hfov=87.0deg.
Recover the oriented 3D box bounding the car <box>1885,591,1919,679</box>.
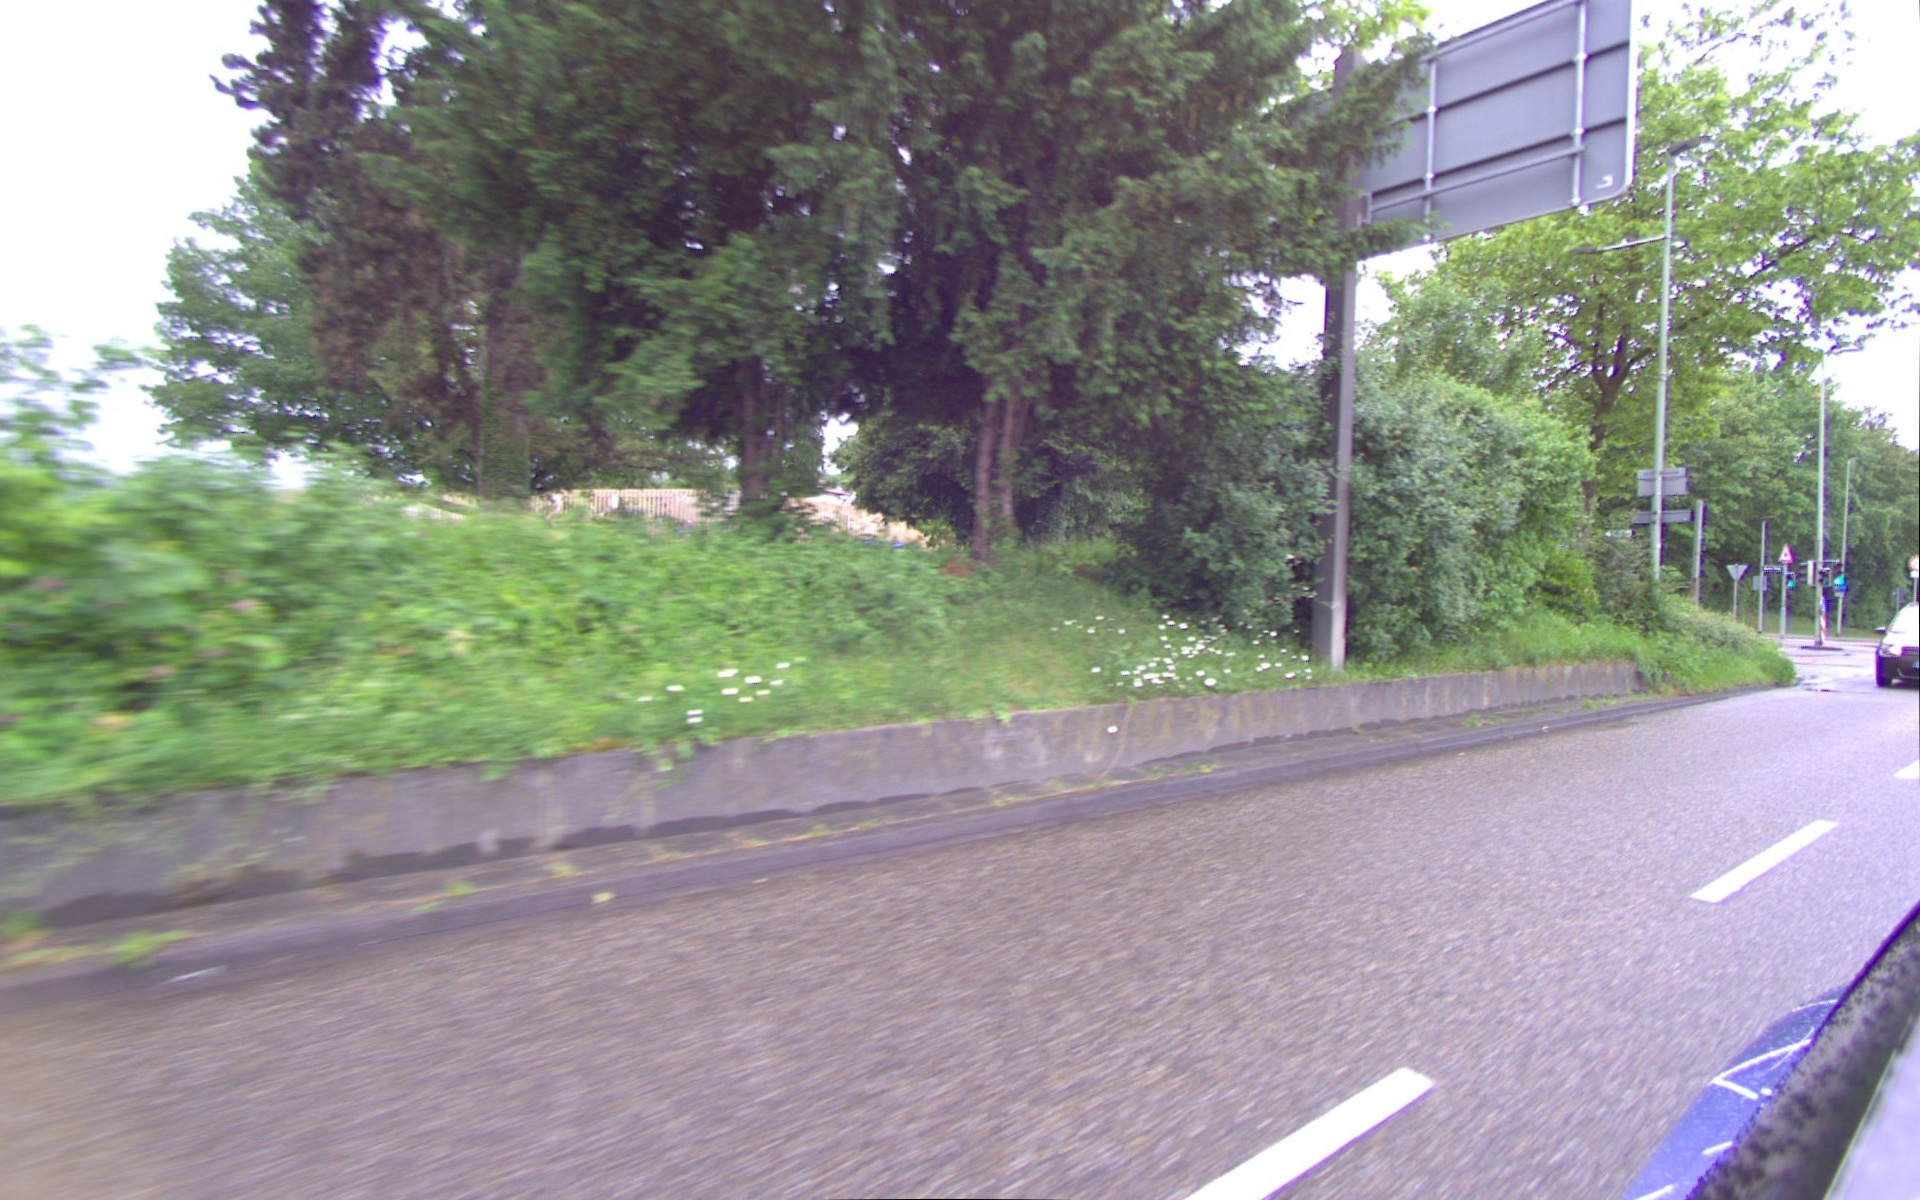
[{"bbox_3d":[19.539,0.686,19.637,3.907,1.629,1.751,1,0,-38],"label":"car"}]
